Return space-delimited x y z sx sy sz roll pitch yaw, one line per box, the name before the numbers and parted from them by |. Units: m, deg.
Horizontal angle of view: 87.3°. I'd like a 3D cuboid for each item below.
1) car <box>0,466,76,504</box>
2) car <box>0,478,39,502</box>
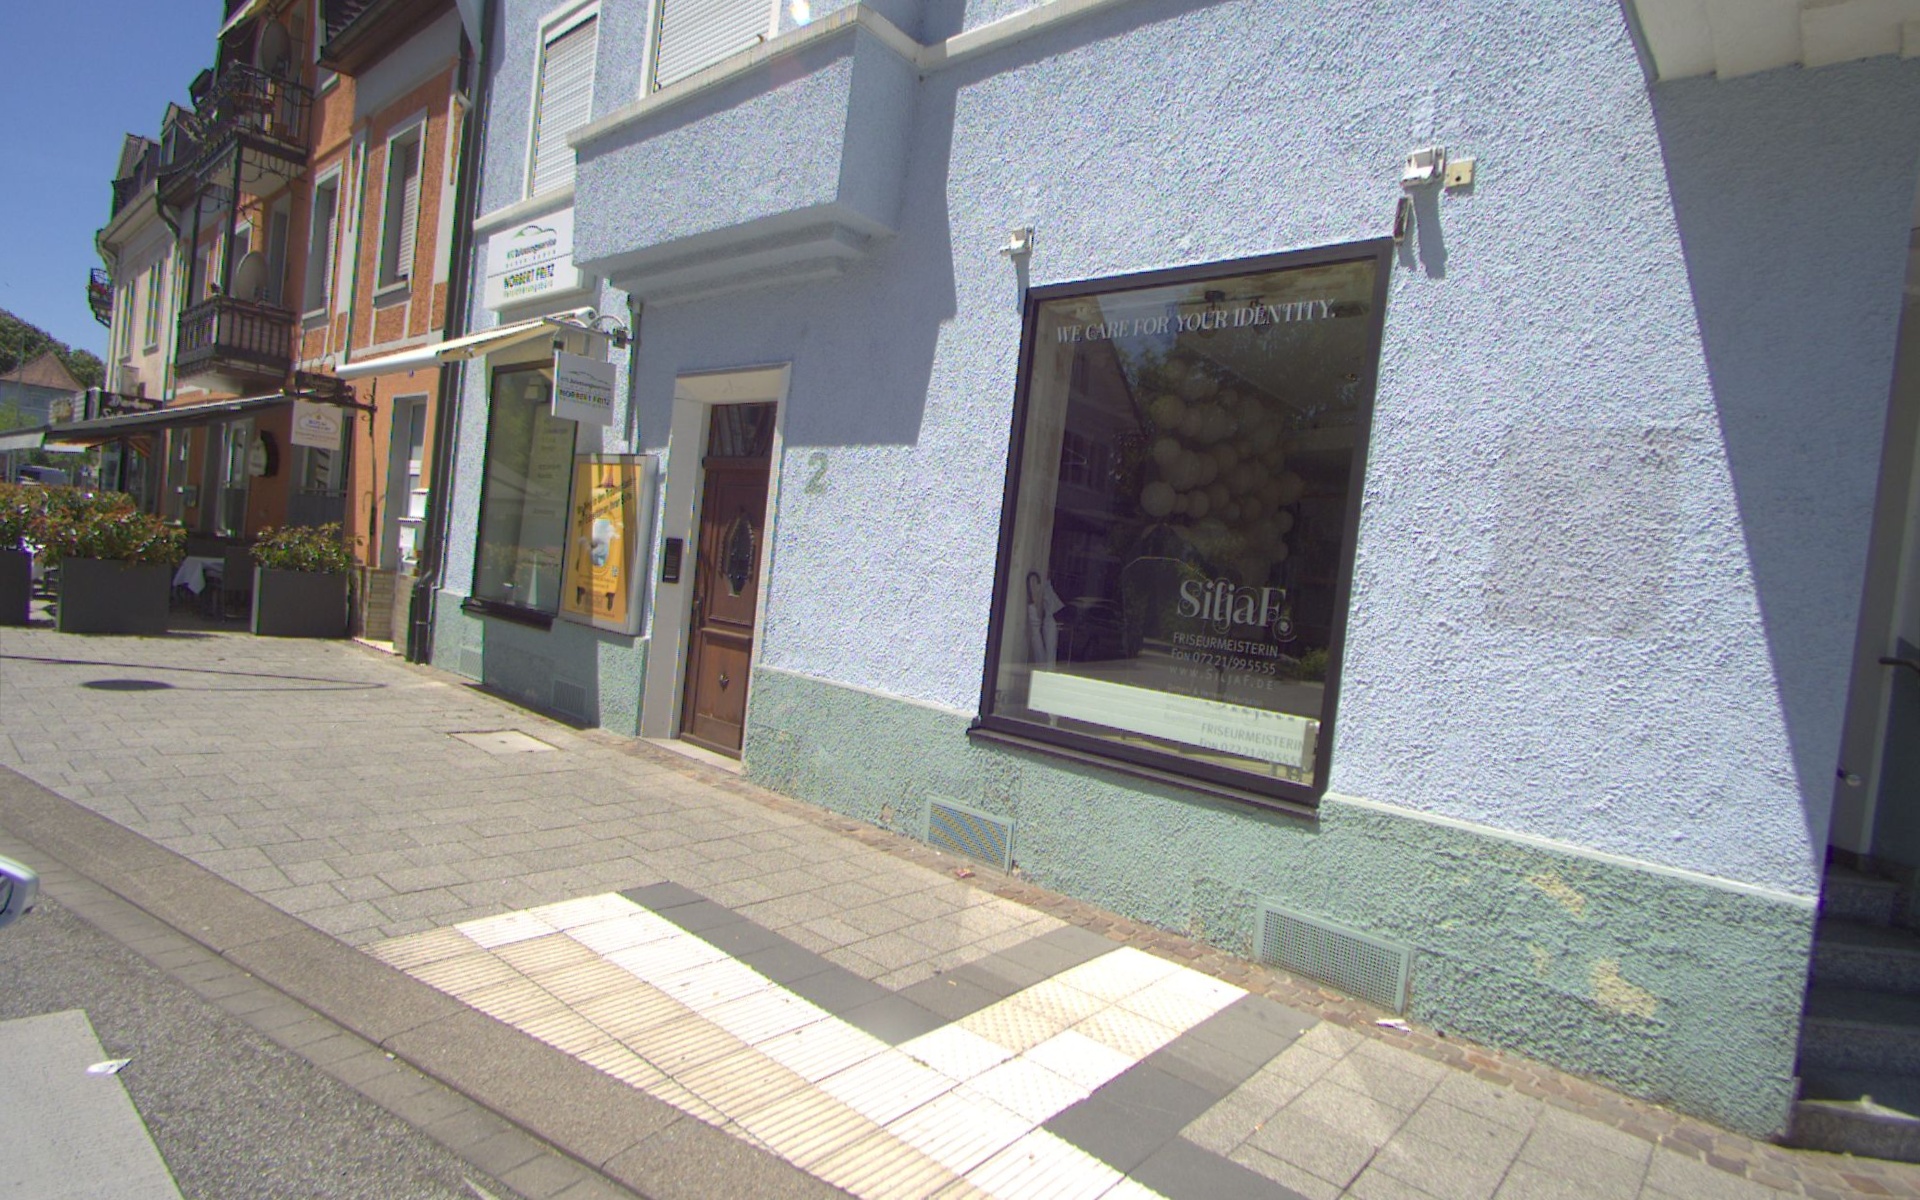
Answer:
car | -86.264 -10.702 93.429 5.590 2.611 2.499 7 0 -26
car | -84.264 -9.826 88.749 3.952 1.682 1.986 7 0 -27
